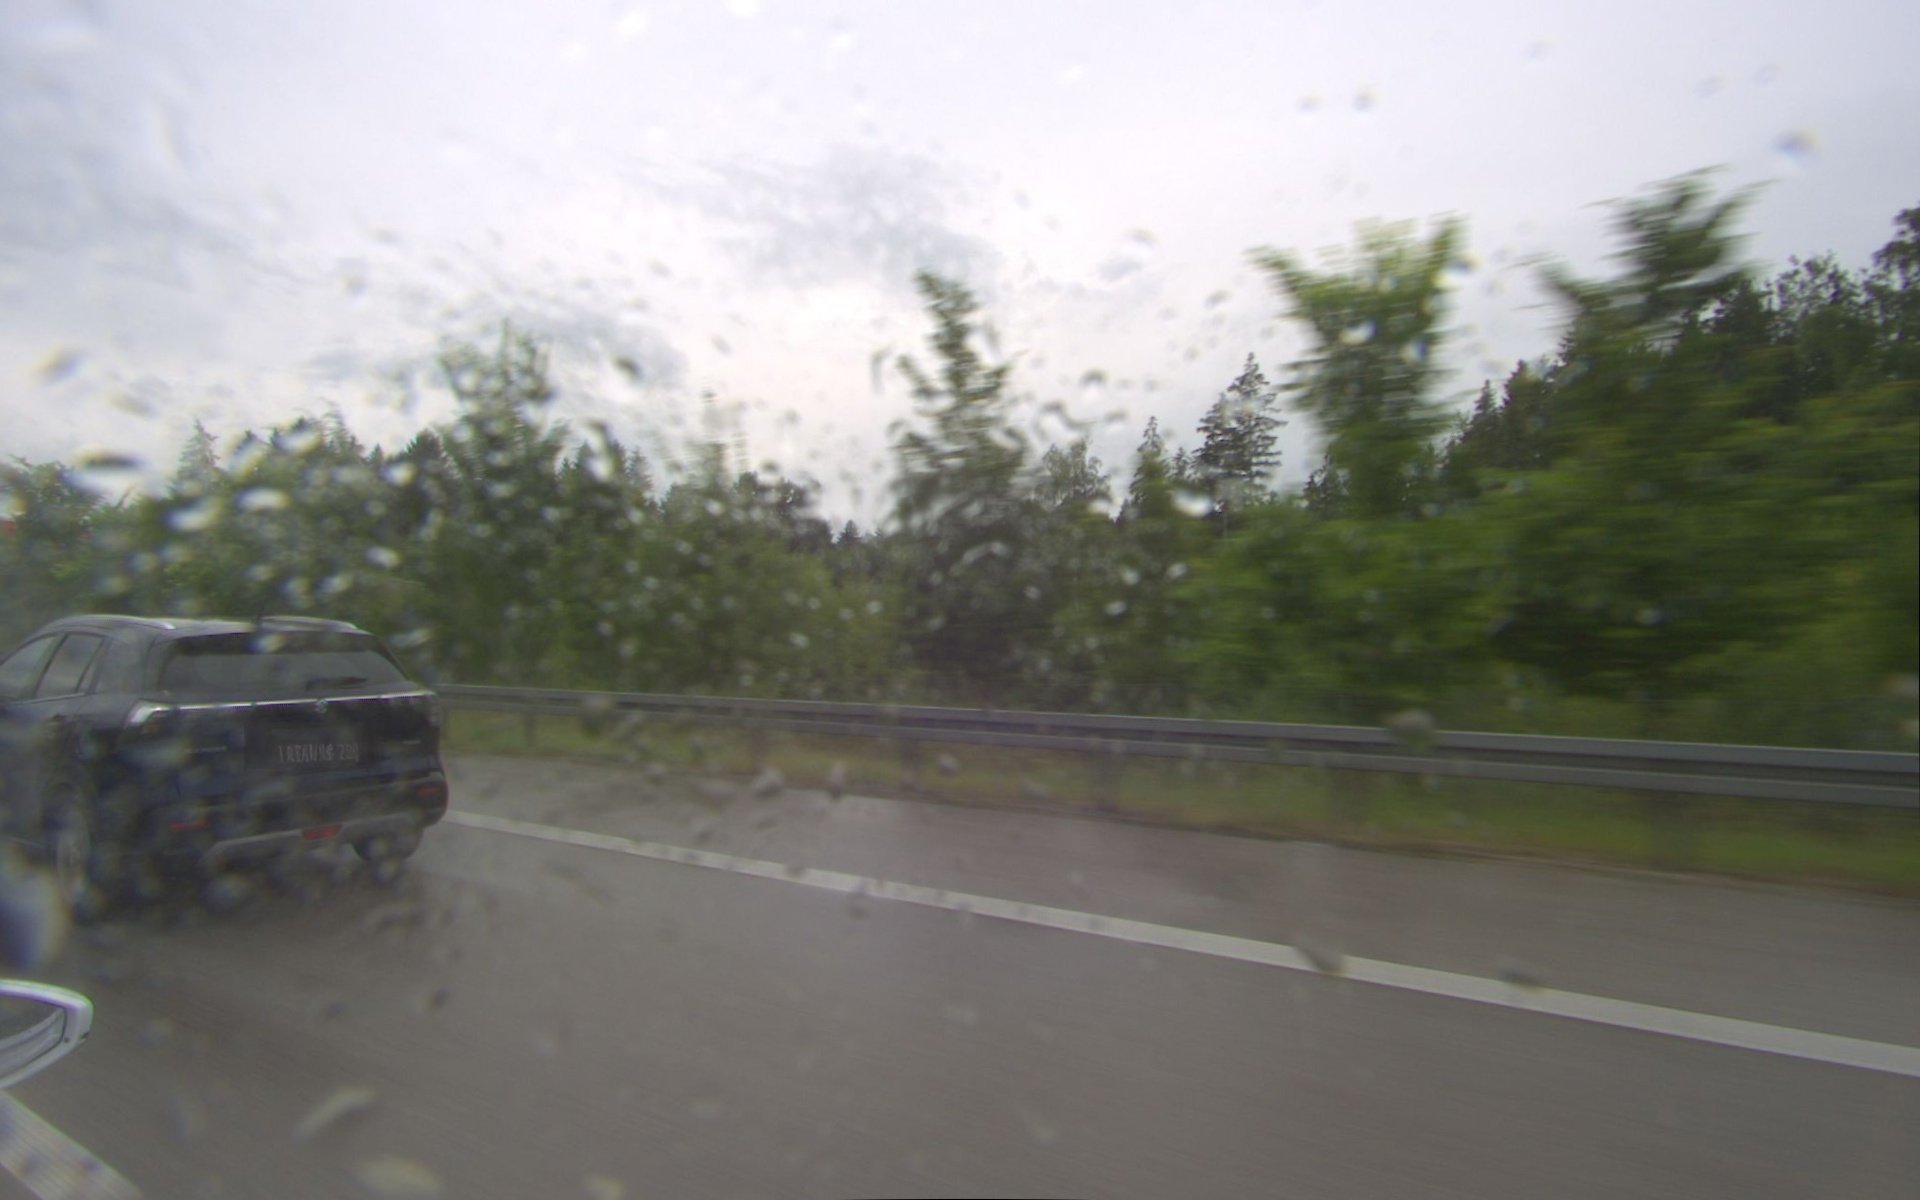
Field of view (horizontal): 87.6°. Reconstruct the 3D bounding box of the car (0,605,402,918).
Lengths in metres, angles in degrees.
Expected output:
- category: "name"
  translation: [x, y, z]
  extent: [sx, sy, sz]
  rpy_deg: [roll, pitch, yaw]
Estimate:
- category: "car"
  translation: [-5.758, 0.876, 6.898]
  extent: [3.581, 1.596, 1.890]
  rpy_deg: [-1, -2, 33]
